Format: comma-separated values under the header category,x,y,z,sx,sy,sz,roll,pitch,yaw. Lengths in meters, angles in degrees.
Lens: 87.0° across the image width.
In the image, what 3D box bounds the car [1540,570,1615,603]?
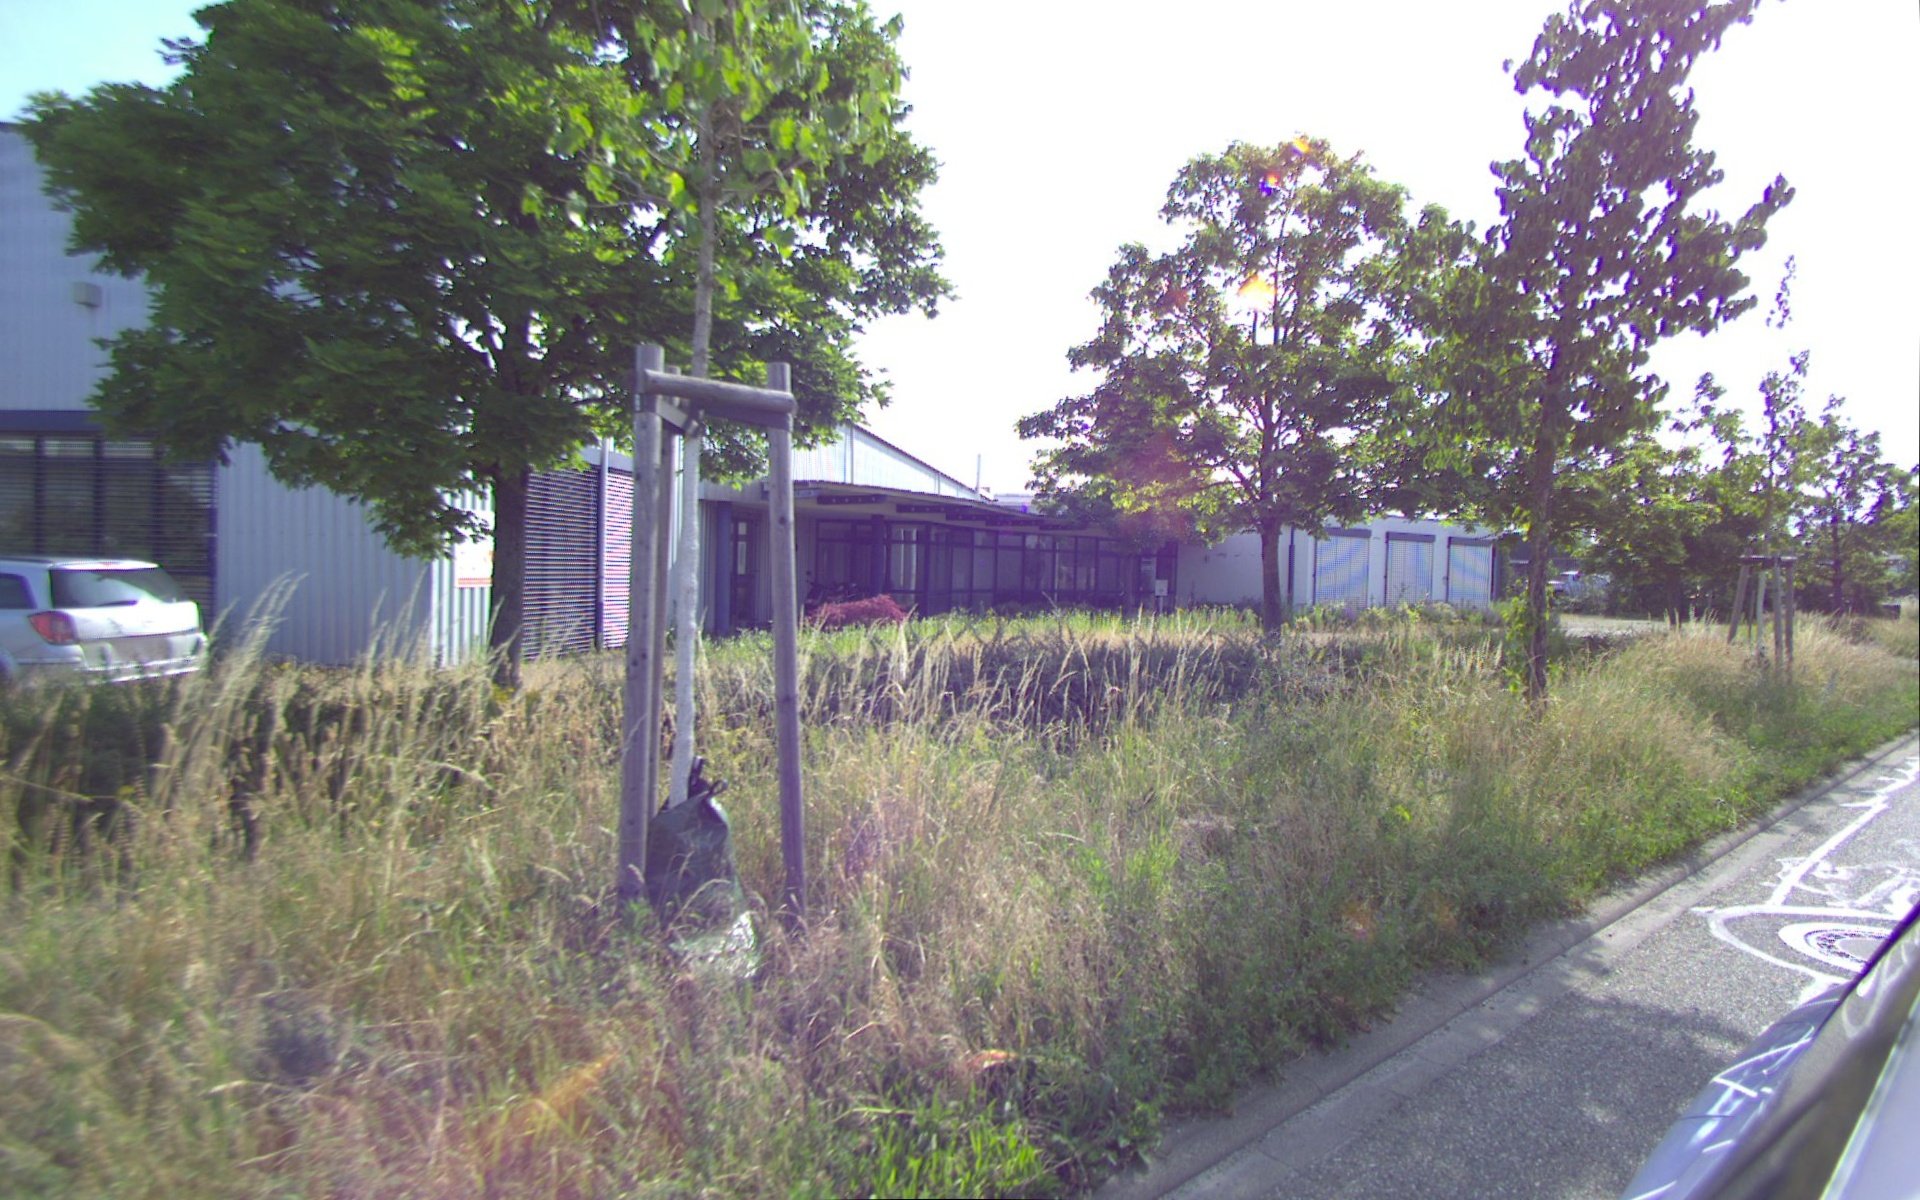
category,x,y,z,sx,sy,sz,roll,pitch,yaw
car,32.639,-0.713,53.520,3.679,1.703,1.604,-1,0,-25

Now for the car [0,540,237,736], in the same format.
category,x,y,z,sx,sy,sz,roll,pitch,yaw
car,-9.709,0.245,9.847,4.285,1.581,1.757,2,4,7

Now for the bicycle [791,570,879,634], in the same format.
category,x,y,z,sx,sy,sz,roll,pitch,yaw
bicycle,-3.011,0.031,24.589,0.803,1.489,2.249,-1,0,37
